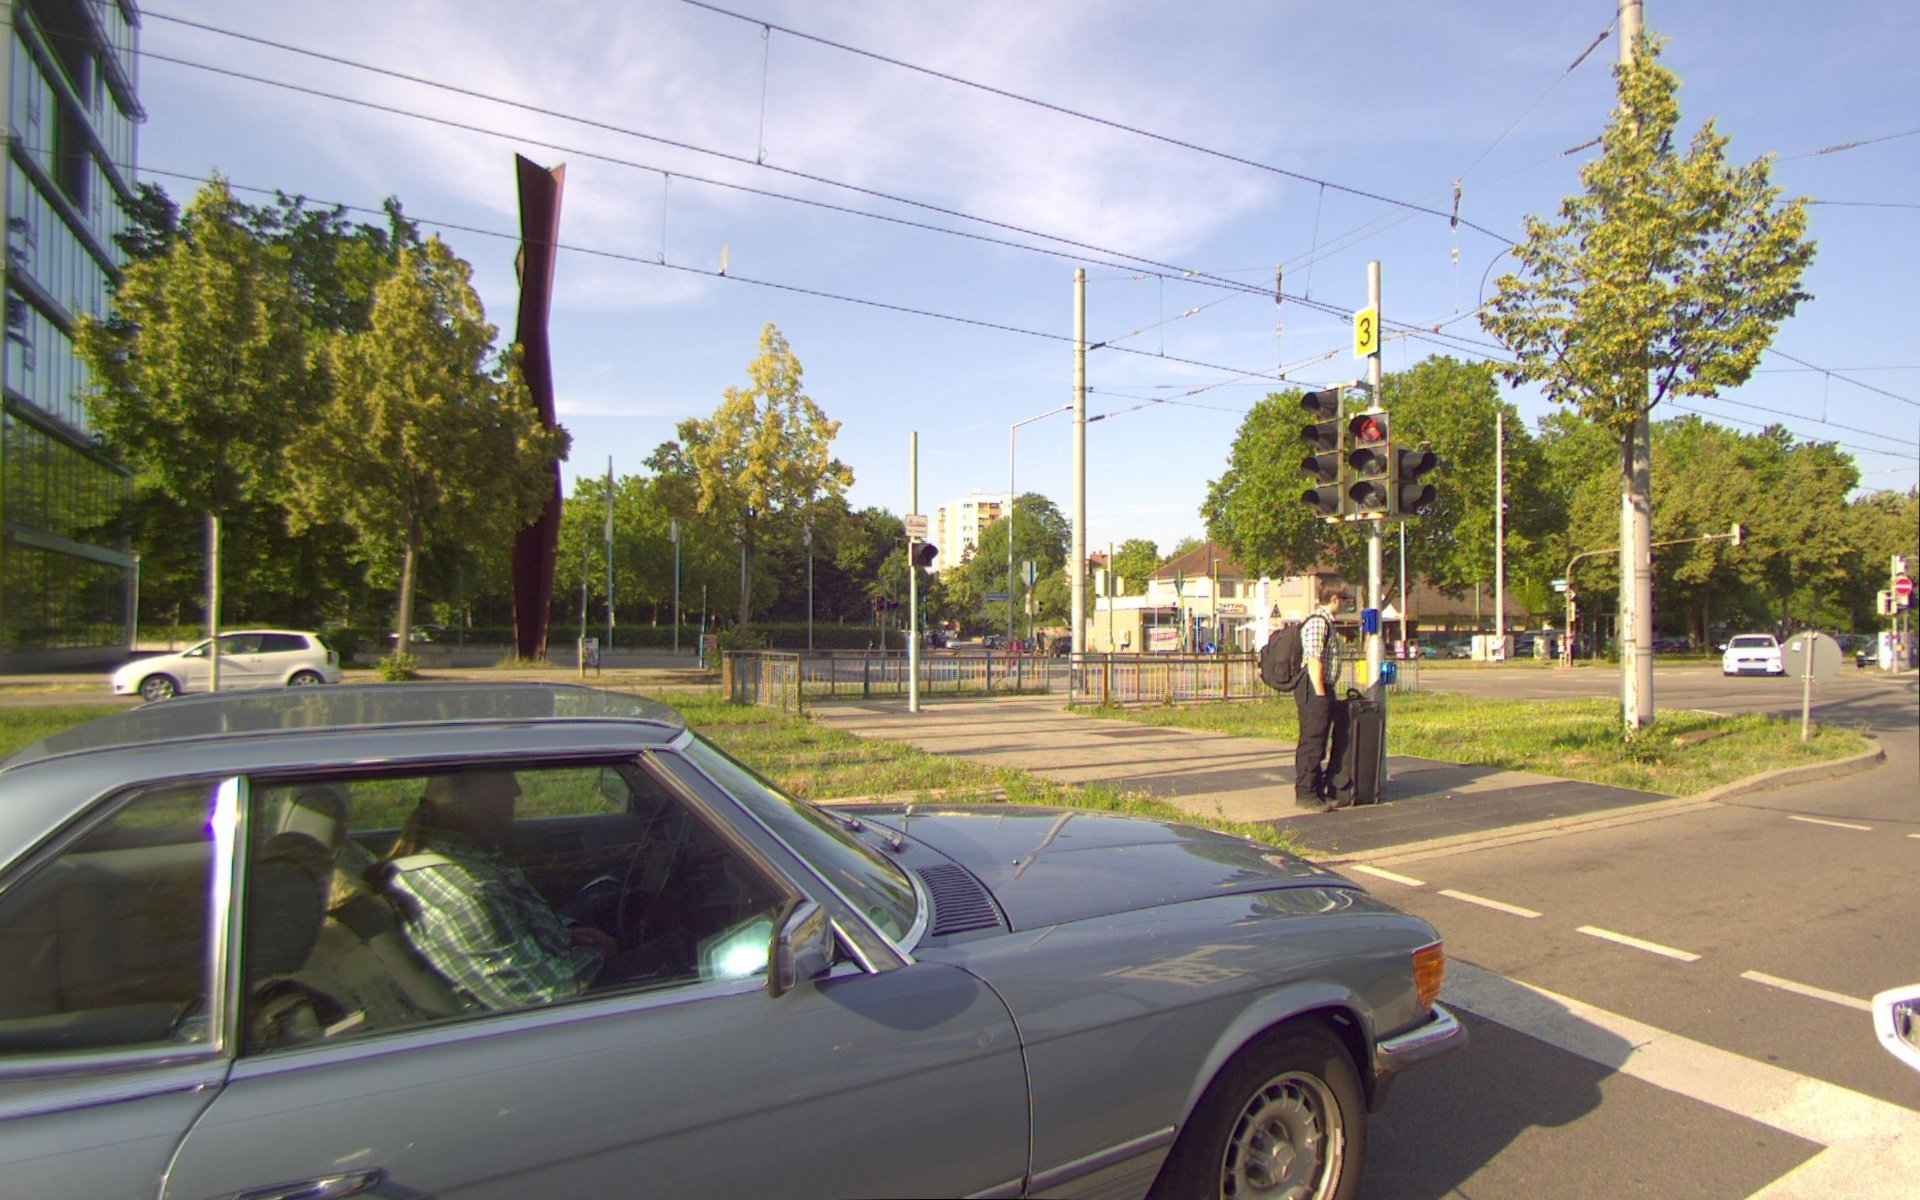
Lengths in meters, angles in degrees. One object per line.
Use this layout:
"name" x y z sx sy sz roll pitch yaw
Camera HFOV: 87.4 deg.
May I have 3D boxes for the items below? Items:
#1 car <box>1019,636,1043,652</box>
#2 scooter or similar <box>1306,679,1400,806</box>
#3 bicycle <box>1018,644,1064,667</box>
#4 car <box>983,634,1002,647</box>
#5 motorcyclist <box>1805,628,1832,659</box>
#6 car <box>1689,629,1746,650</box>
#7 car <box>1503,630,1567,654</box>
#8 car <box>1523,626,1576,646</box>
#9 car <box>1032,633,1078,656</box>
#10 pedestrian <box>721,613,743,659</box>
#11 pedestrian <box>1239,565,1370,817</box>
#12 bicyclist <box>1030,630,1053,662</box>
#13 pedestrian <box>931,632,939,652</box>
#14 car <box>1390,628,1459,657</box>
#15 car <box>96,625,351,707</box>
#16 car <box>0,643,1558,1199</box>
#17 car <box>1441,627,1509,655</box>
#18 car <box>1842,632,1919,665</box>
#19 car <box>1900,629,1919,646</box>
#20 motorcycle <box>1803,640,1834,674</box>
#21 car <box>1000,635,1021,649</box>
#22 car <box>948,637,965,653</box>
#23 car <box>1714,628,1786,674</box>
"car" 7.061 4.379 100.324 1.667 1.491 3.941 0 -2 -8
"scooter or similar" 3.128 1.114 8.004 0.424 0.919 0.546 1 0 -29
"bicycle" 3.853 2.626 47.738 2.168 1.055 0.697 -1 -2 38
"car" 3.968 4.980 123.455 1.667 1.491 3.941 0 -2 -8
"motorcyclist" 35.373 1.785 41.381 0.774 1.219 0.842 1 1 44
"car" 58.626 3.055 77.736 3.945 1.580 1.876 1 -2 -25
"car" 38.827 2.841 67.831 3.945 1.580 1.876 1 -2 -25
"car" 47.878 2.935 81.583 3.945 1.580 1.876 1 -2 -25
"car" 7.459 3.496 79.251 1.971 1.750 3.979 1 -2 -22
"pedestrian" -10.752 1.698 47.453 0.864 2.135 0.724 -1 -3 -1
"pedestrian" 2.632 0.661 7.703 0.628 1.816 0.696 1 0 -29
"bicyclist" 3.867 2.170 47.741 0.836 1.512 0.697 -1 -2 38
"pedestrian" -2.009 3.443 82.043 0.654 1.654 0.664 0 -1 -2
"car" 29.215 2.640 63.142 3.945 1.773 1.876 1 -2 -25
"car" -15.333 1.316 21.234 4.176 1.548 1.867 1 -1 -32
"car" -0.782 0.837 2.195 4.349 1.348 1.754 1 0 -31
"car" 33.440 2.686 65.217 3.945 1.773 1.876 1 -2 -25
"car" 43.749 2.310 47.561 4.523 1.480 1.720 2 -3 -32
"car" 87.808 3.420 91.476 3.945 1.580 1.876 1 -2 -25
"motorcycle" 35.607 2.351 41.643 0.810 1.280 2.533 0 0 45
"car" 5.588 4.622 111.837 1.667 1.491 3.941 0 -2 -8
"car" -0.413 5.059 113.537 1.961 1.806 4.000 0 -2 -1
"car" 28.798 1.860 36.608 1.969 1.524 4.076 1 -3 39
